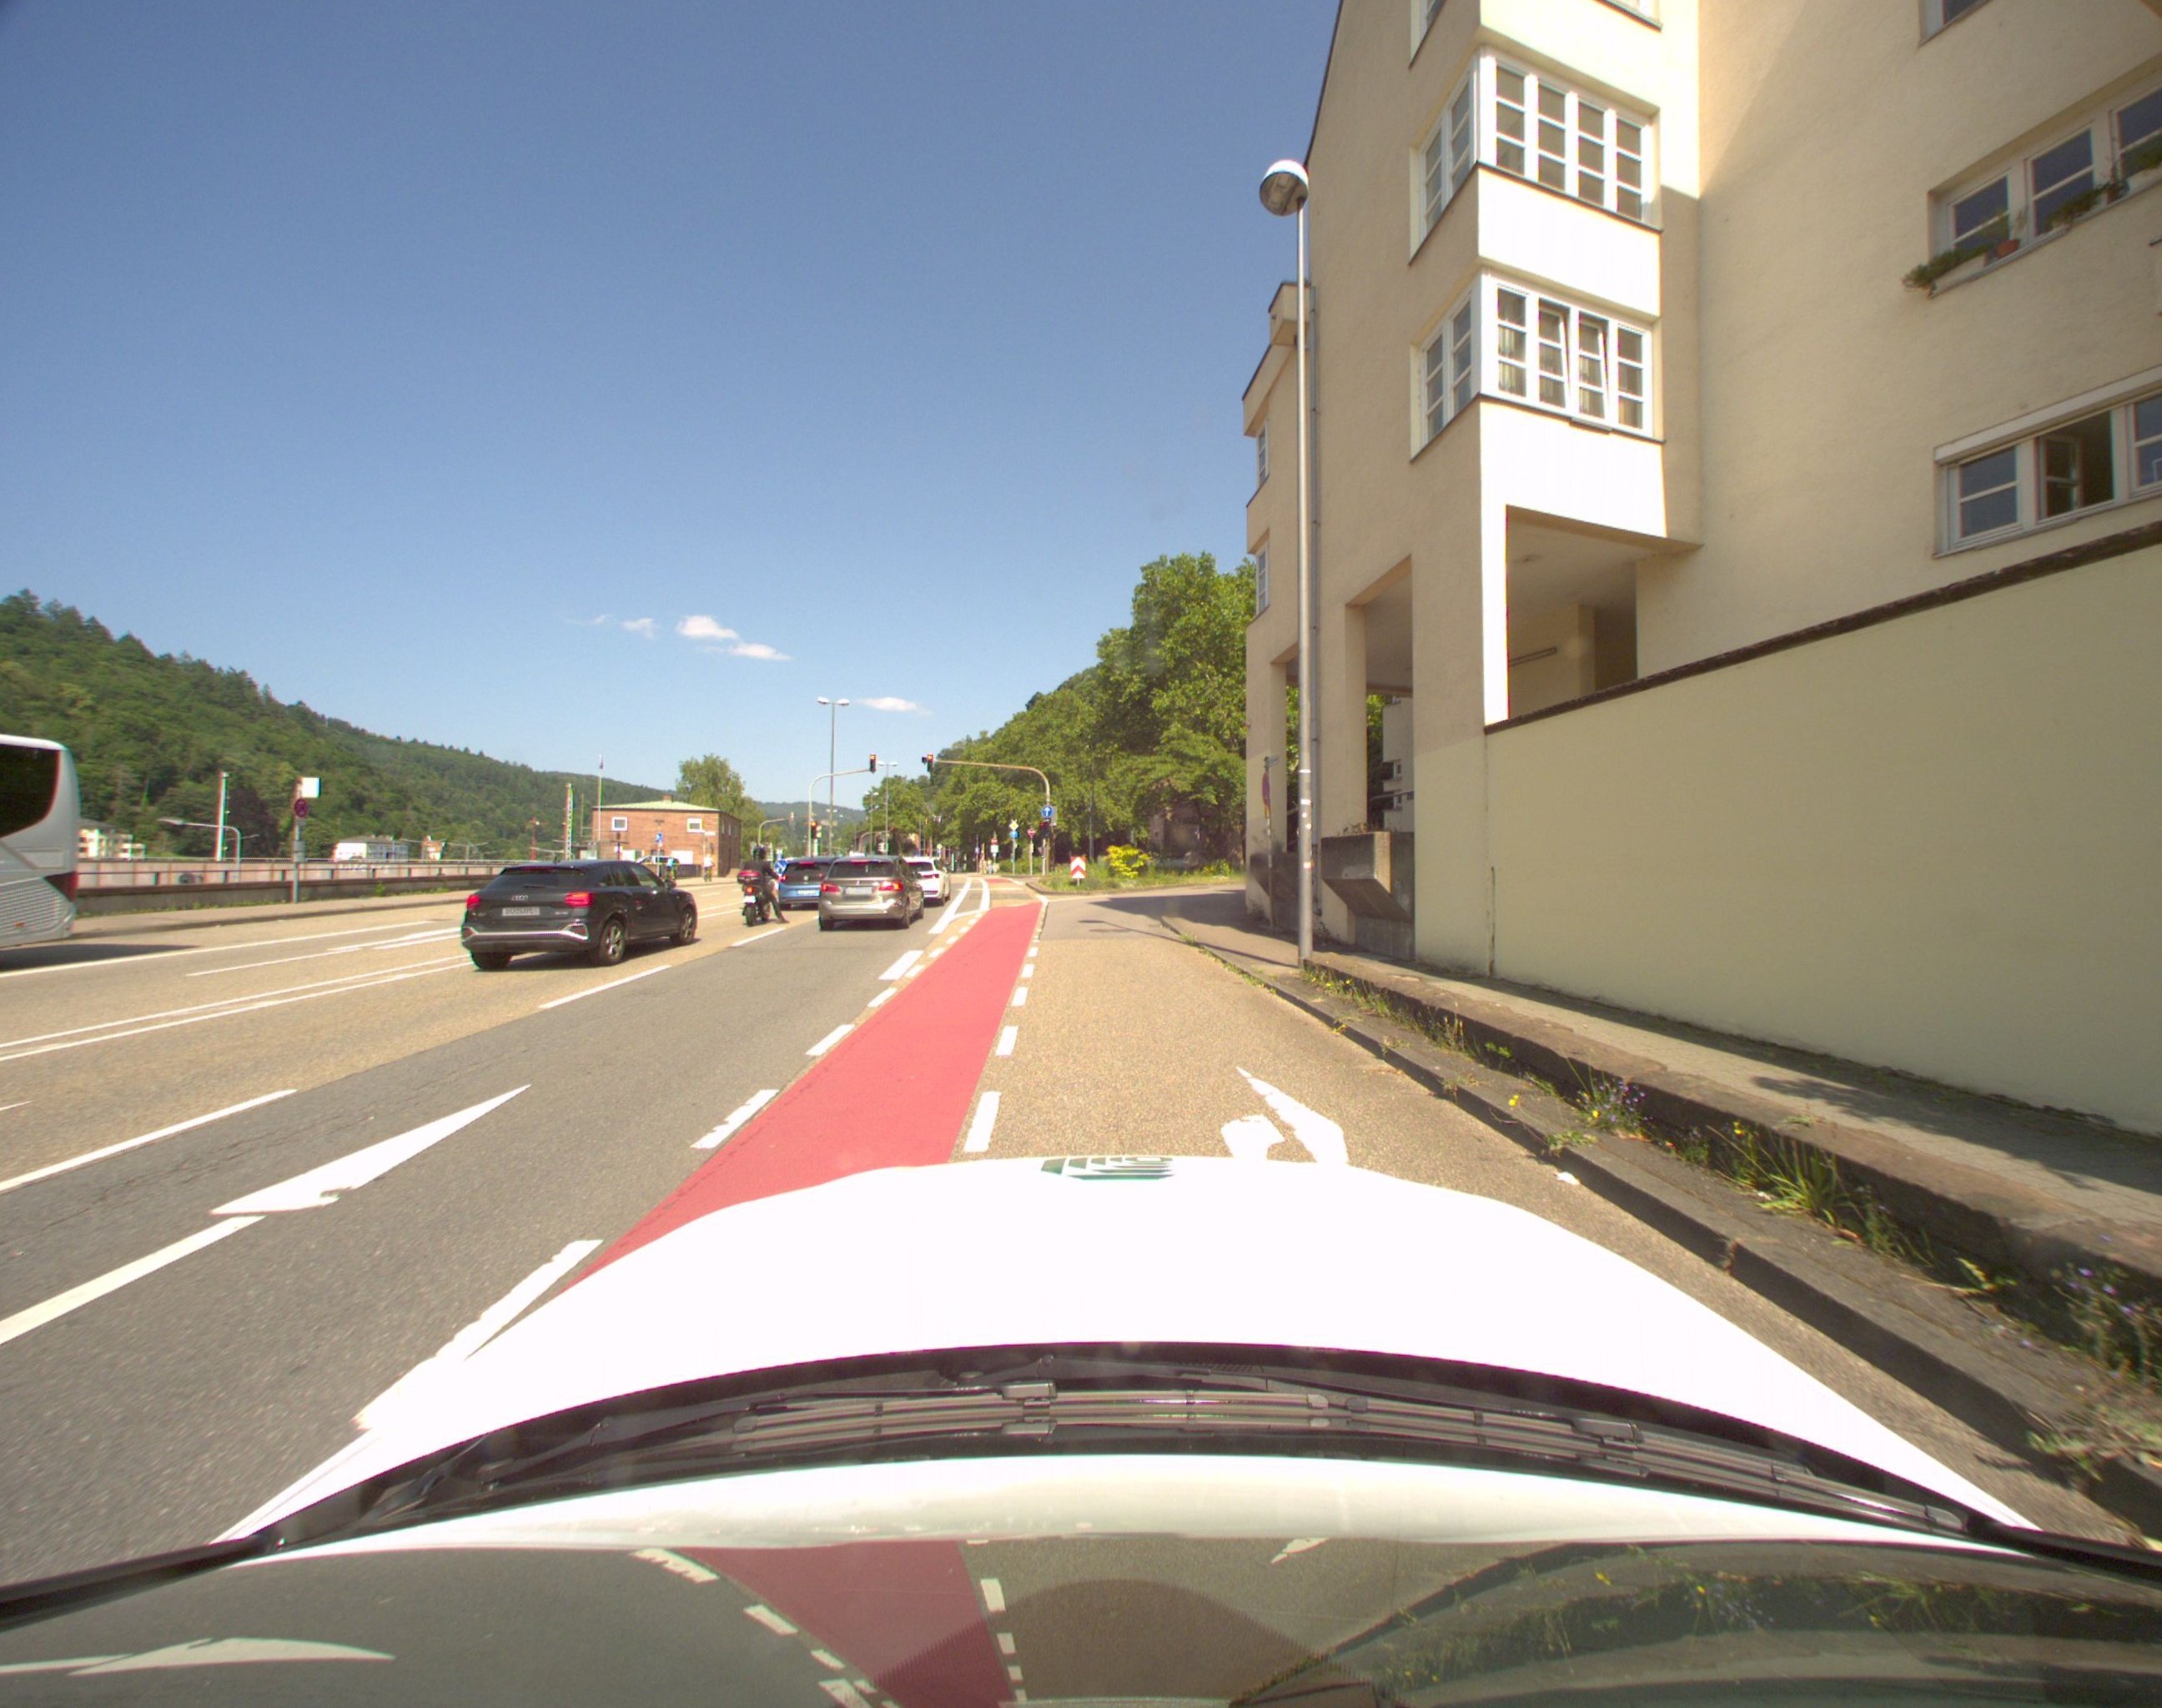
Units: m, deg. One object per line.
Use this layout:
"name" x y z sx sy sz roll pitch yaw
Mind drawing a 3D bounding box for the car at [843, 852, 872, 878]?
"car" -23.799 1.154 86.734 2.392 2.576 6.012 -1 0 -21

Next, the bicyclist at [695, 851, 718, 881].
"bicyclist" -25.884 0.833 56.249 1.214 2.013 1.113 -1 0 -14

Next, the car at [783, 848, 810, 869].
"car" -29.692 0.426 85.124 2.217 2.078 5.020 -1 0 -14

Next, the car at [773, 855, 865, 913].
"car" -7.832 0.831 24.729 1.864 1.562 3.992 -1 0 -6

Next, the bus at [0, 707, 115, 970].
"bus" -16.350 -0.272 6.500 2.955 3.800 13.204 3 0 -9

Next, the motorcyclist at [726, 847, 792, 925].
"motorcyclist" -7.212 0.694 18.312 1.074 1.684 1.154 -1 0 -5

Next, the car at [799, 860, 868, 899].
"car" -9.703 0.958 32.245 1.864 1.359 3.992 -1 0 -6

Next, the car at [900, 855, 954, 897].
"car" -6.097 0.837 32.660 1.784 1.532 4.724 -1 0 -7

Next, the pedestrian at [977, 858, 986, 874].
"pedestrian" -10.609 1.245 86.943 0.759 1.719 0.795 -1 0 1

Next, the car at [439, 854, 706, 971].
"car" -7.568 0.770 12.685 1.867 1.514 4.142 0 -1 -6

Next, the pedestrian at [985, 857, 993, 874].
"pedestrian" -9.812 1.223 86.913 0.759 1.708 0.878 -1 0 1

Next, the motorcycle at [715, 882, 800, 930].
"motorcycle" -7.254 1.139 18.461 1.036 0.919 2.601 -1 0 -4

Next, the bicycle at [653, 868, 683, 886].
"bicycle" -27.229 1.494 53.779 1.214 1.090 2.585 -1 0 -15

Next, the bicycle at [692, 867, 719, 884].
"bicycle" -25.862 1.471 56.192 1.214 1.090 2.585 -1 0 -15

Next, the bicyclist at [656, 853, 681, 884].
"bicyclist" -27.278 0.965 53.891 1.214 2.013 1.113 -1 0 -14

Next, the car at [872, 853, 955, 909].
"car" -5.132 0.770 25.601 1.990 1.533 4.850 -1 0 -5

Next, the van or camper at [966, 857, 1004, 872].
"van or camper" -12.831 1.382 108.709 4.512 1.902 2.007 -1 0 12

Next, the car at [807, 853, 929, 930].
"car" -4.610 0.758 18.282 1.885 1.521 4.299 0 0 -4
